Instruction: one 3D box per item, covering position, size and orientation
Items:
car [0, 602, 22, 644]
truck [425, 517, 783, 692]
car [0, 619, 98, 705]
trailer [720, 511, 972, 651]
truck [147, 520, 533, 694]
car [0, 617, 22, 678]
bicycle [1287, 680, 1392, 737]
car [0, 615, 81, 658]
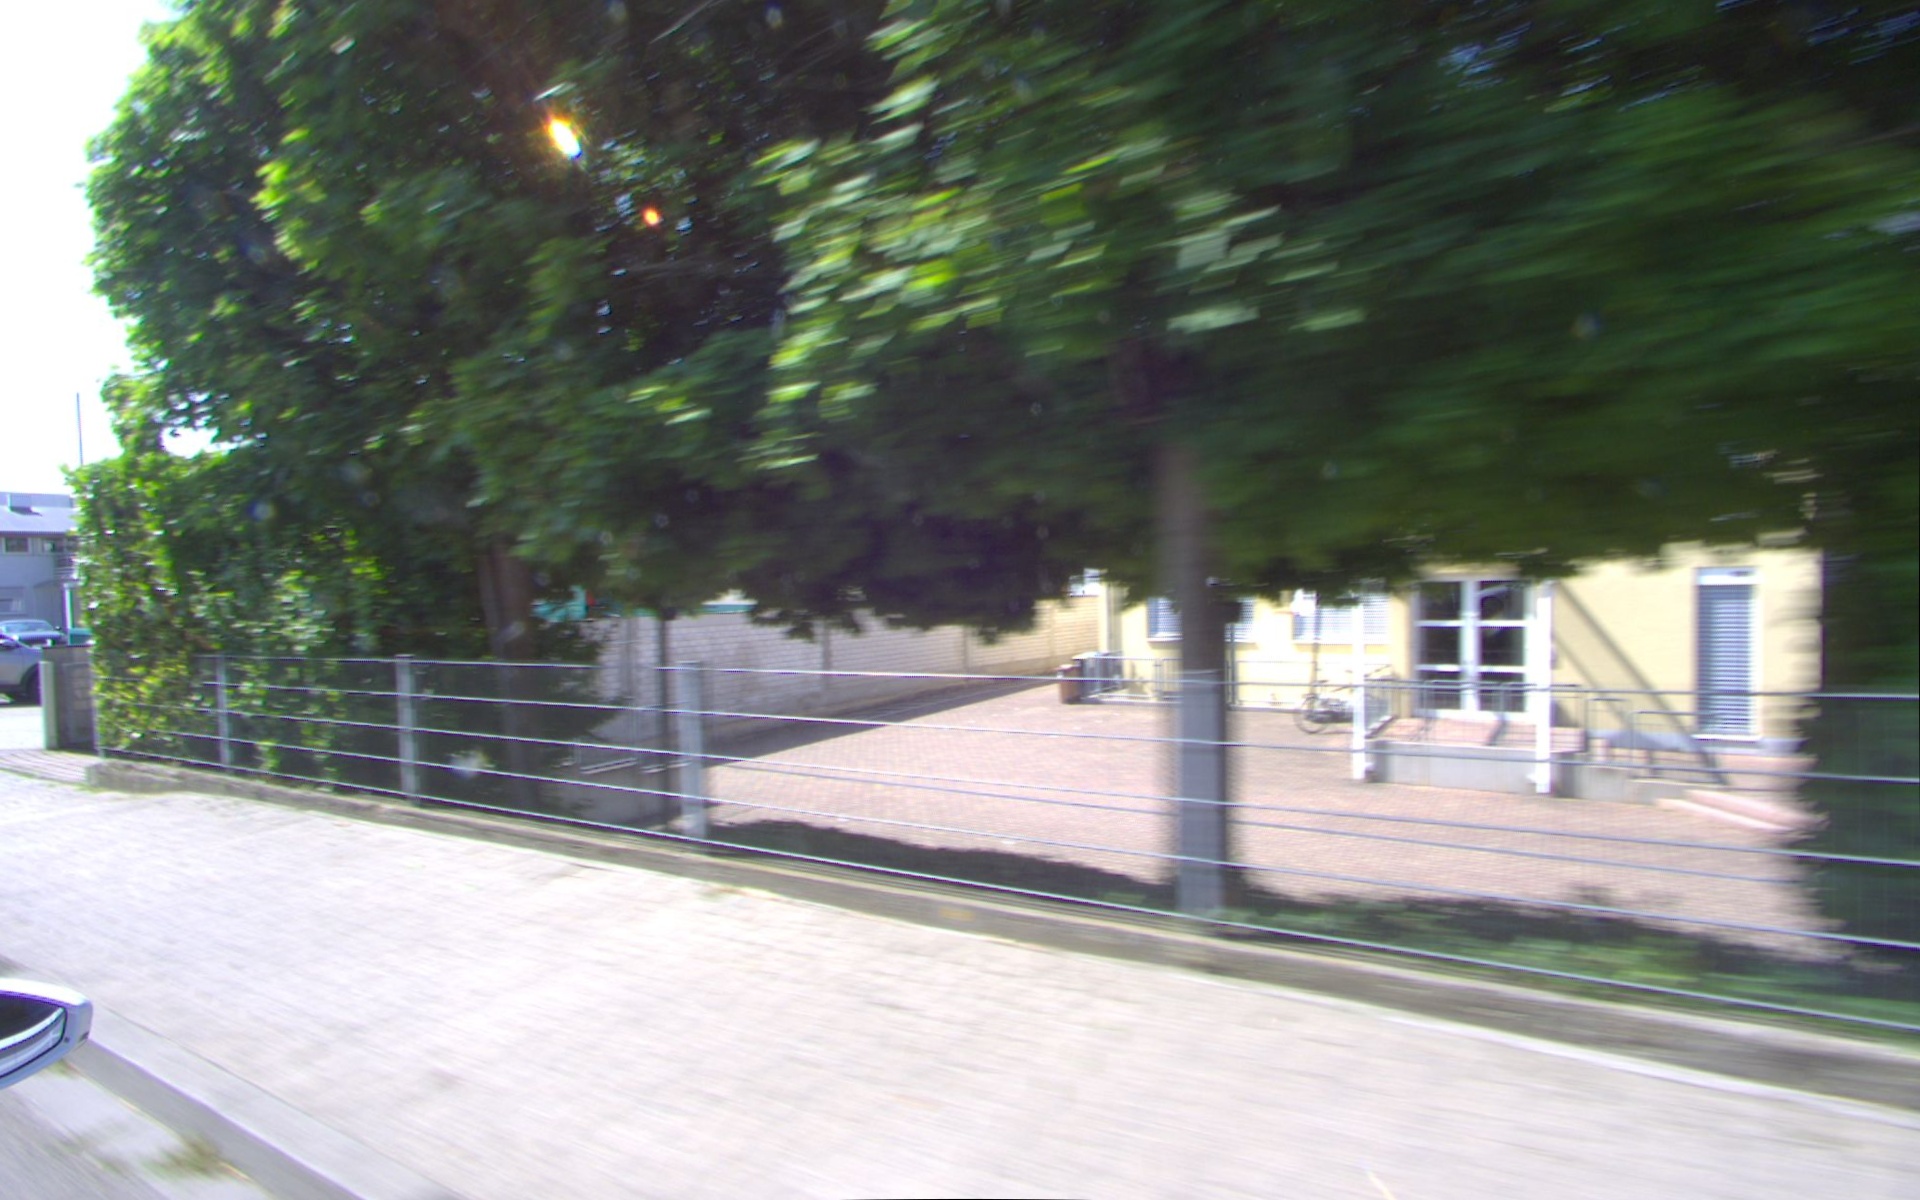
[{"bbox_3d":[-37.852,0.925,37.907,4.079,1.517,1.759,-1,3,22],"label":"car"},{"bbox_3d":[-8.486,0.013,25.166,2.914,3.660,8.248,0,1,35],"label":"truck"},{"bbox_3d":[-20.029,1.215,19.784,1.741,1.703,4.195,-1,-3,32],"label":"car"},{"bbox_3d":[-3.340,-0.648,32.099,3.029,3.915,8.298,-1,2,38],"label":"trailer"},{"bbox_3d":[-14.295,0.233,23.862,2.491,3.467,7.504,0,-1,32],"label":"truck"},{"bbox_3d":[-24.951,1.247,23.185,1.865,1.461,4.342,-1,2,32],"label":"car"},{"bbox_3d":[7.278,2.078,19.236,1.778,1.007,0.617,-1,3,2],"label":"bicycle"},{"bbox_3d":[-32.243,1.227,34.766,4.045,1.342,1.636,0,2,35],"label":"car"}]
